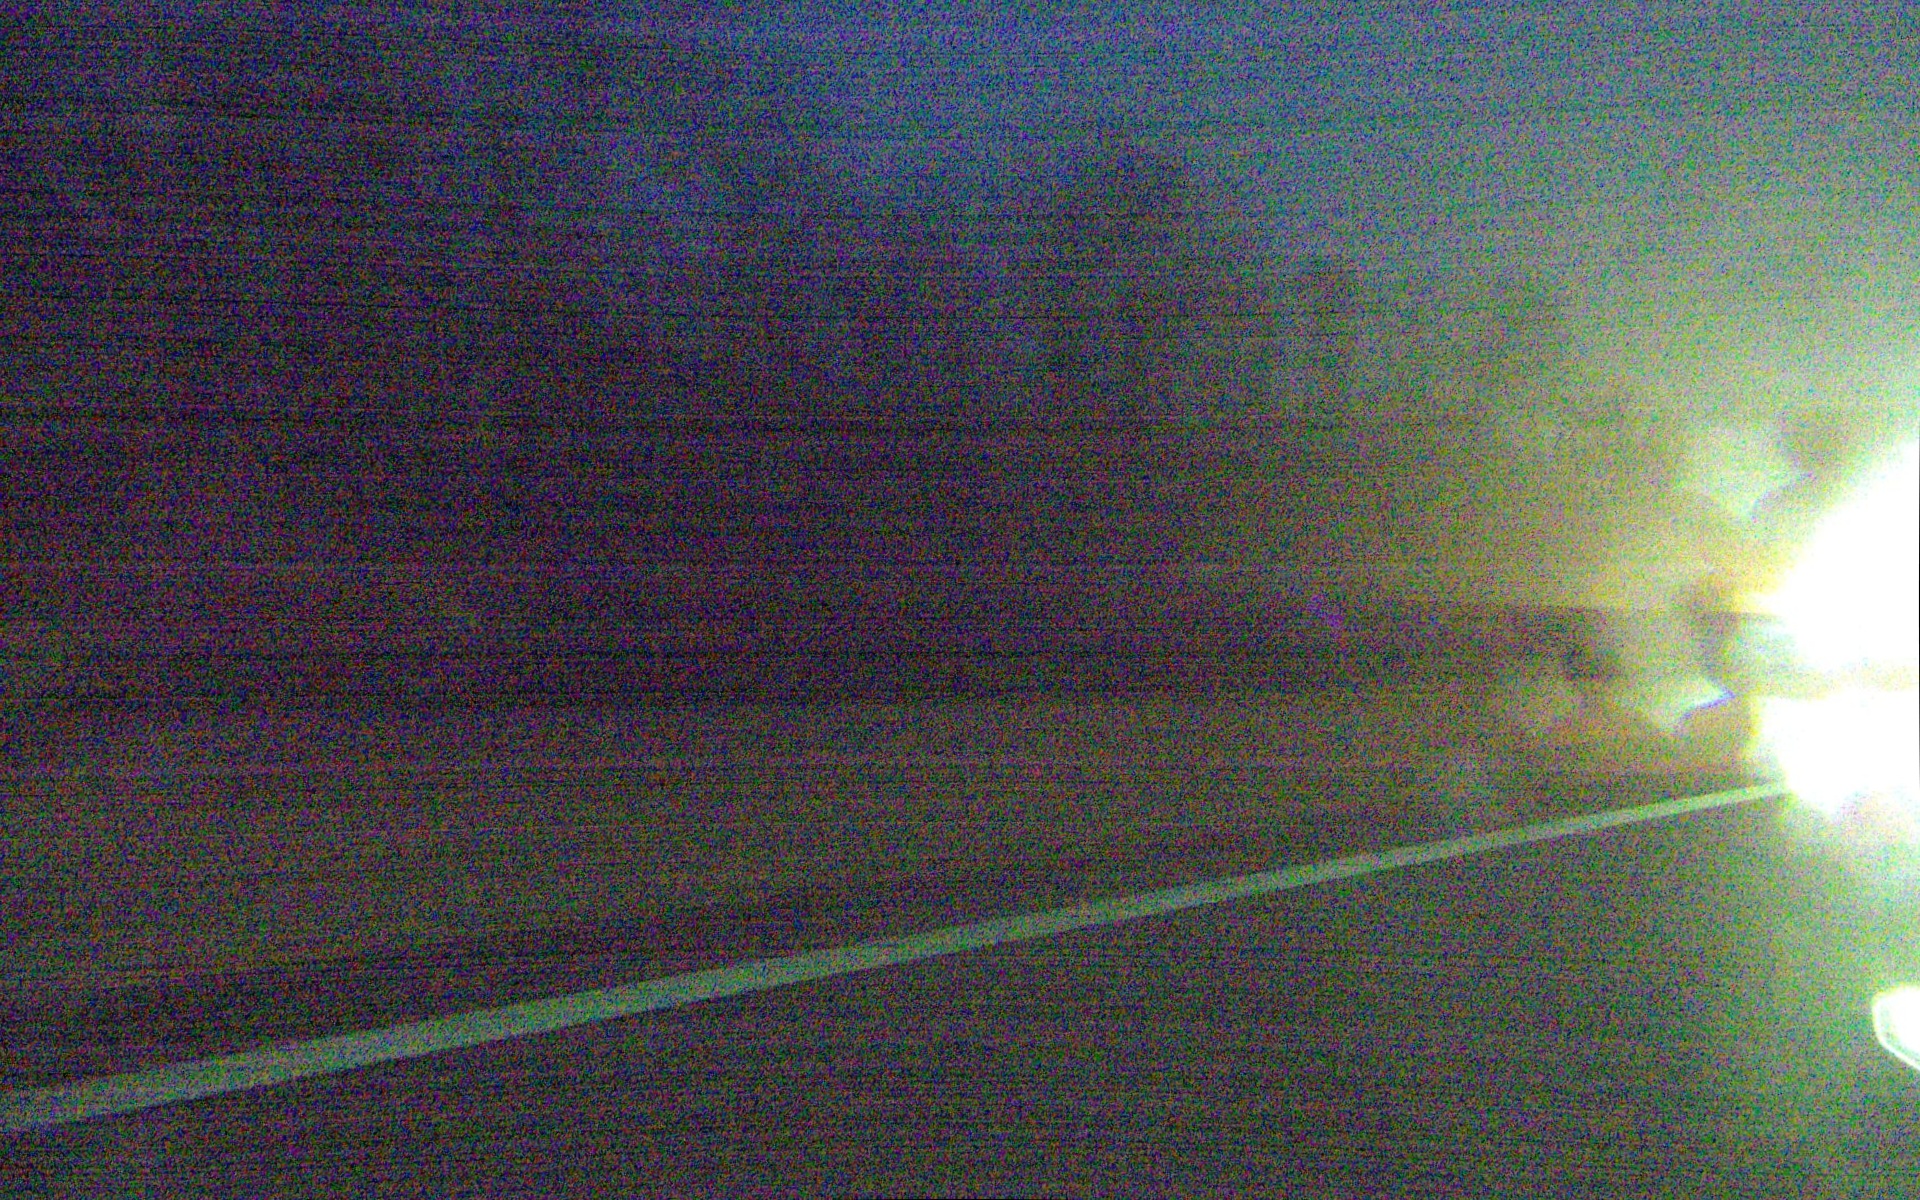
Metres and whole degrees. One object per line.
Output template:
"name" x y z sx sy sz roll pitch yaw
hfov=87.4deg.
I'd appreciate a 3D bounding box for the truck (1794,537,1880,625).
"truck" 55.184 -1.231 63.147 5.830 5.167 2.730 -1 5 -38
